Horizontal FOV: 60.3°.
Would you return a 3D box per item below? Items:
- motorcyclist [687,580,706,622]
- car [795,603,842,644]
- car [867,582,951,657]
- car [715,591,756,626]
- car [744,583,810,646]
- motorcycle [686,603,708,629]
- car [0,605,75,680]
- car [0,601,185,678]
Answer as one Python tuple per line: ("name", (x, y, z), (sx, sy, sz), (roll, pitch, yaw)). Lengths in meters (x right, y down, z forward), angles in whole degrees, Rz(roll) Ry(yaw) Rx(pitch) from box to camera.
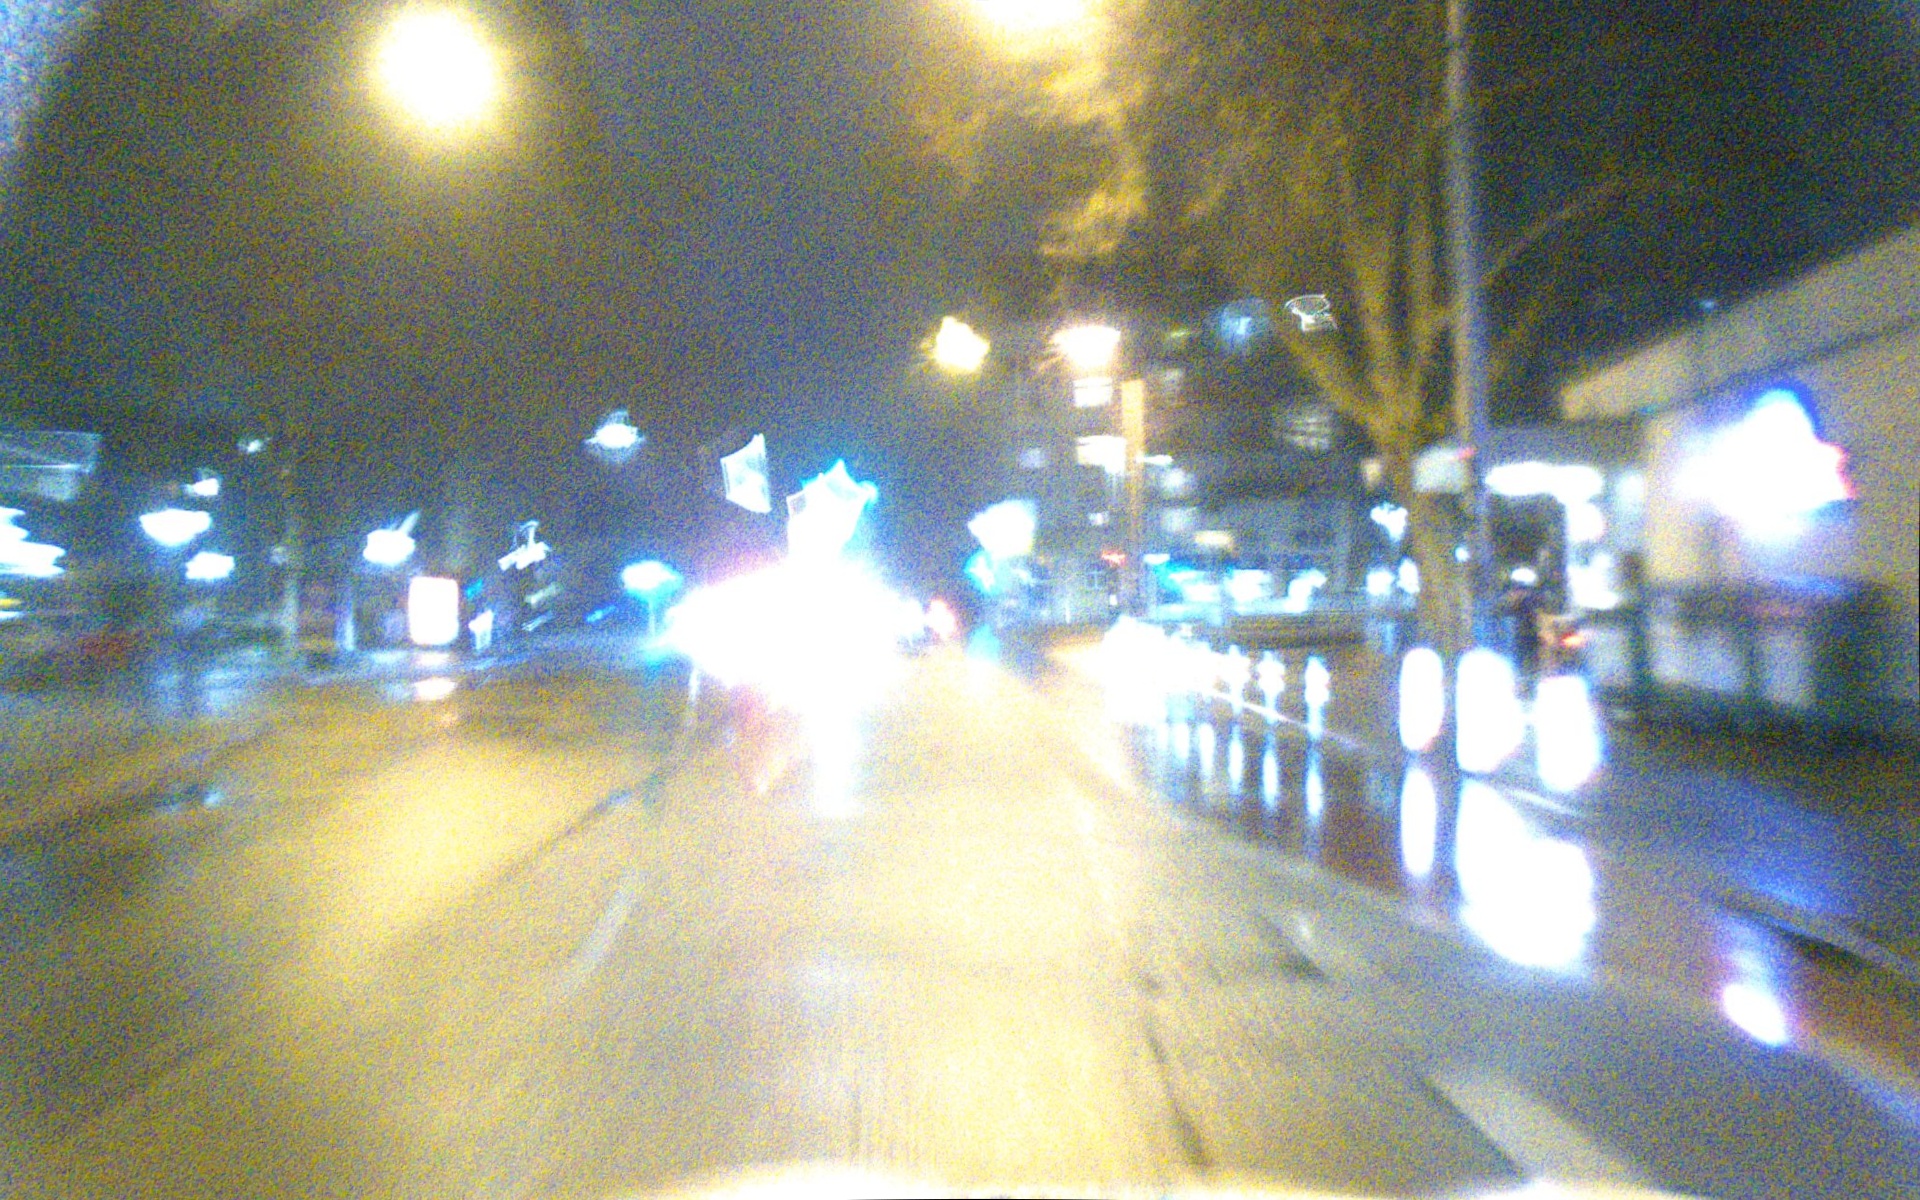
("motorcyclist", (-12.882, 0.035, 80.927), (0.679, 2.049, 0.983), (-2, 1, 1))
("car", (-5.917, 0.947, 68.606), (1.783, 1.569, 4.719), (-2, 0, -7))
("car", (-1.526, 0.546, 48.096), (2.126, 2.006, 4.297), (-2, 0, -5))
("car", (-10.805, 0.365, 79.754), (1.817, 1.525, 4.762), (-2, 1, -7))
("car", (-6.452, 0.461, 58.833), (1.994, 1.987, 5.196), (-4, 1, -4))
("motorcycle", (-12.866, 0.773, 80.931), (0.687, 1.158, 2.176), (-2, 1, 1))
("car", (-20.972, 0.917, 34.938), (1.677, 1.547, 3.921), (-1, 0, 18))
("car", (-18.432, 0.787, 34.719), (1.677, 1.456, 3.921), (-1, 0, 18))
